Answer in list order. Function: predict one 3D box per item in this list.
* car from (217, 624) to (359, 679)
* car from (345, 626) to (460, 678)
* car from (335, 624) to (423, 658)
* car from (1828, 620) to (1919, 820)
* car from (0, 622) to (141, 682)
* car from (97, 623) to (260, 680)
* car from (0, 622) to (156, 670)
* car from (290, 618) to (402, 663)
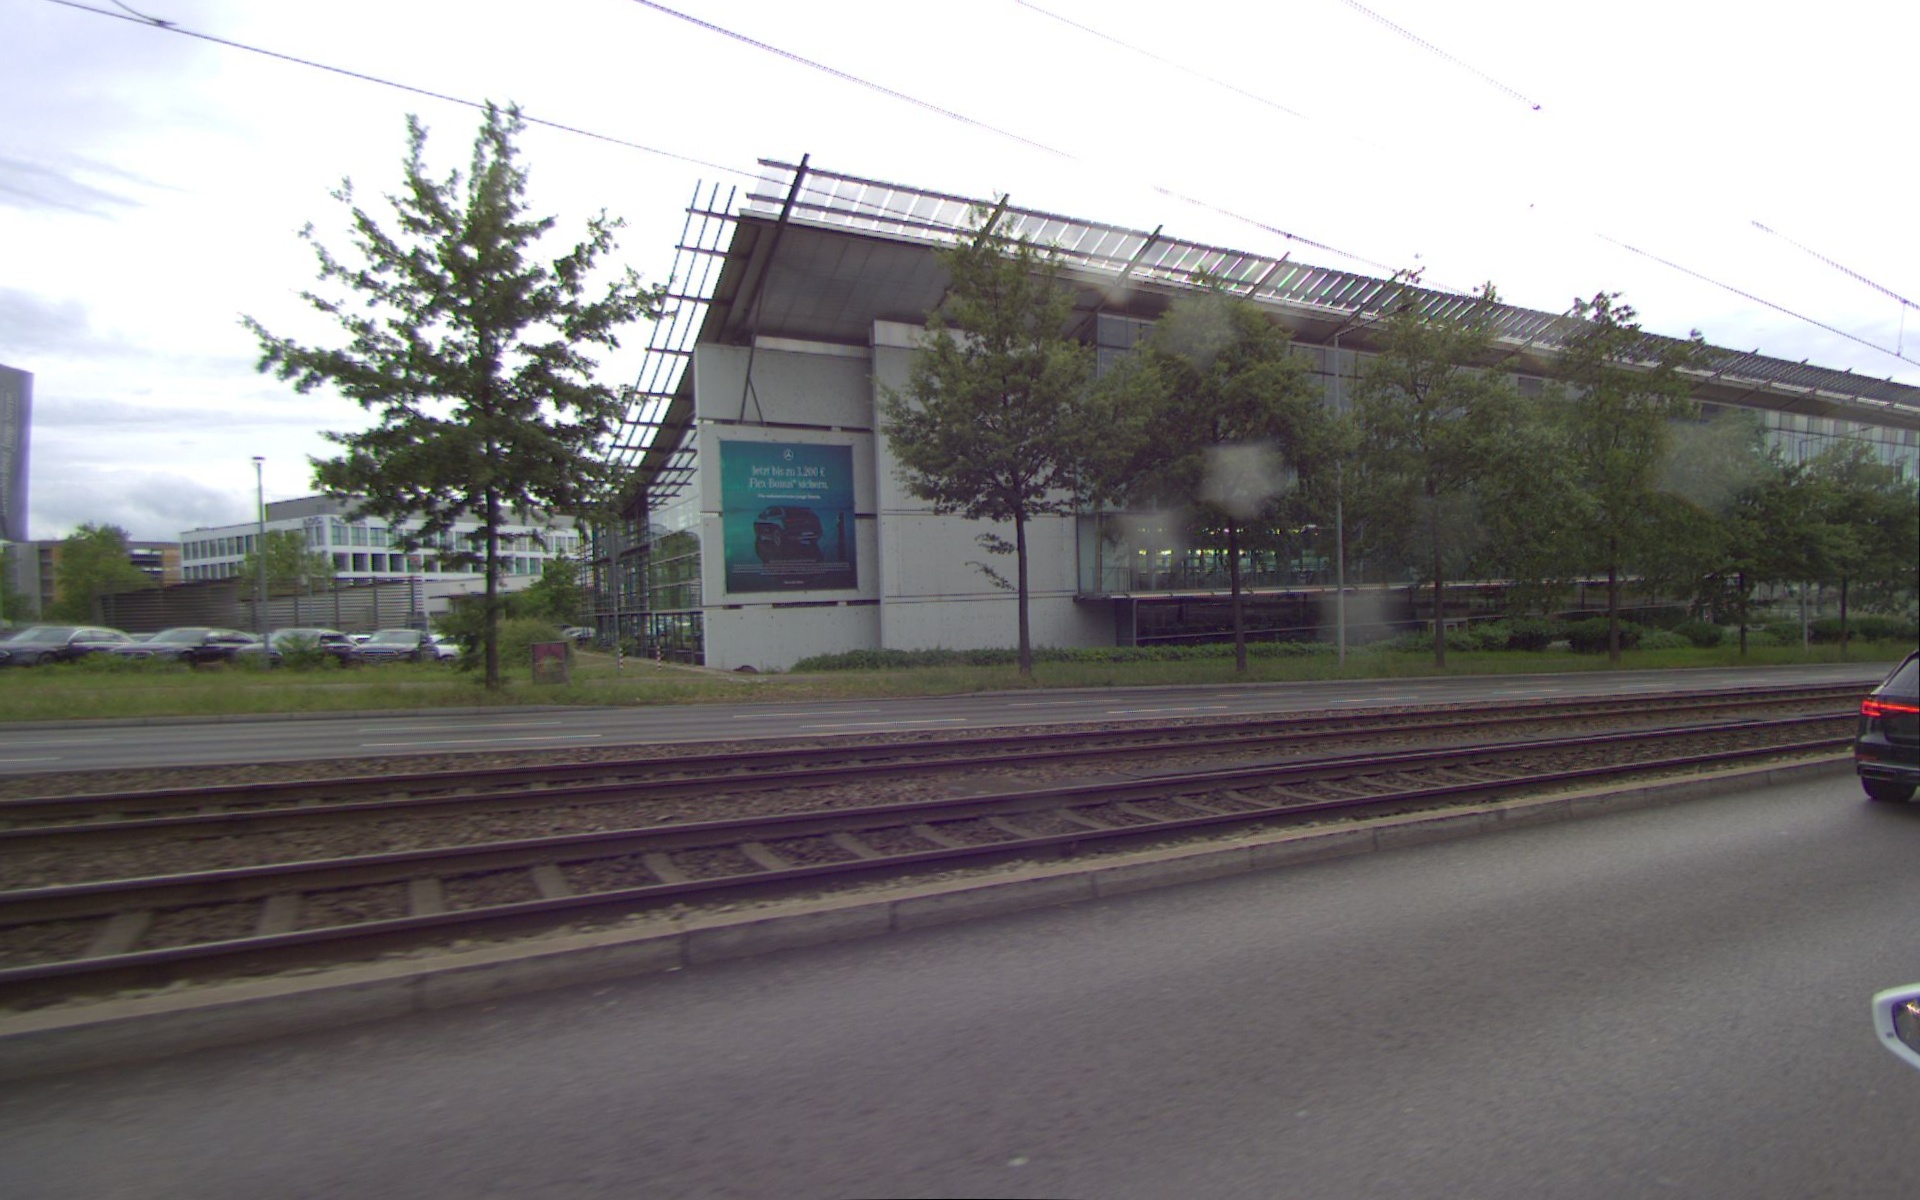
[{"bbox_3d":[-20.345,1.532,30.636,1.769,1.409,3.998,2,0,-3],"label":"car"},{"bbox_3d":[-17.654,1.614,32.013,1.770,1.409,3.995,2,0,-7],"label":"car"},{"bbox_3d":[-27.587,1.912,47.845,1.767,1.409,4.000,2,0,1],"label":"car"},{"bbox_3d":[9.348,0.947,8.436,4.573,1.483,1.755,1,1,-31],"label":"car"},{"bbox_3d":[-25.250,1.384,27.963,1.731,1.409,3.998,2,0,-3],"label":"car"},{"bbox_3d":[-22.753,1.459,29.444,1.769,1.409,3.998,2,0,-3],"label":"car"},{"bbox_3d":[-29.926,1.527,34.260,1.768,1.409,4.000,2,0,0],"label":"car"},{"bbox_3d":[-22.304,1.427,36.672,1.769,1.409,3.998,2,0,-3],"label":"car"}]
